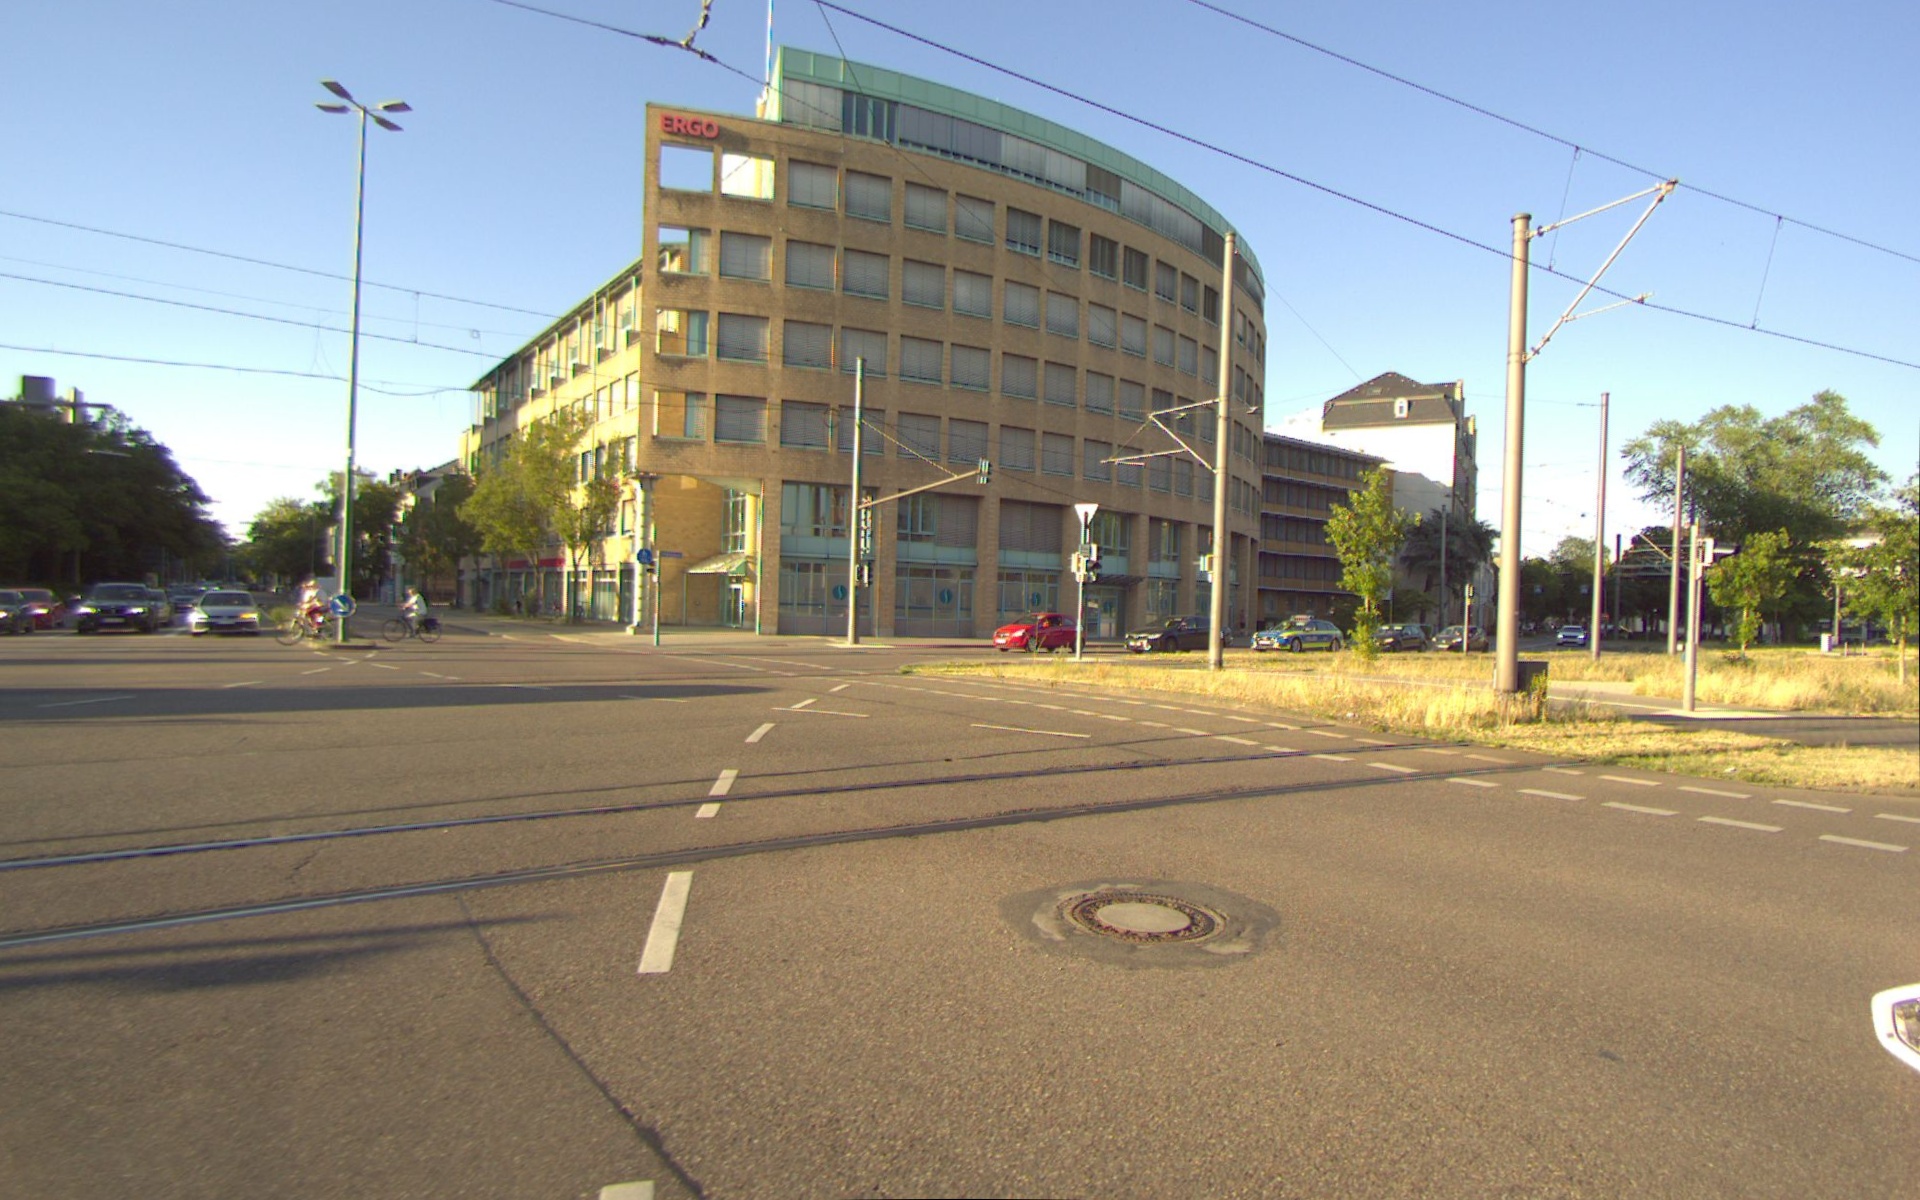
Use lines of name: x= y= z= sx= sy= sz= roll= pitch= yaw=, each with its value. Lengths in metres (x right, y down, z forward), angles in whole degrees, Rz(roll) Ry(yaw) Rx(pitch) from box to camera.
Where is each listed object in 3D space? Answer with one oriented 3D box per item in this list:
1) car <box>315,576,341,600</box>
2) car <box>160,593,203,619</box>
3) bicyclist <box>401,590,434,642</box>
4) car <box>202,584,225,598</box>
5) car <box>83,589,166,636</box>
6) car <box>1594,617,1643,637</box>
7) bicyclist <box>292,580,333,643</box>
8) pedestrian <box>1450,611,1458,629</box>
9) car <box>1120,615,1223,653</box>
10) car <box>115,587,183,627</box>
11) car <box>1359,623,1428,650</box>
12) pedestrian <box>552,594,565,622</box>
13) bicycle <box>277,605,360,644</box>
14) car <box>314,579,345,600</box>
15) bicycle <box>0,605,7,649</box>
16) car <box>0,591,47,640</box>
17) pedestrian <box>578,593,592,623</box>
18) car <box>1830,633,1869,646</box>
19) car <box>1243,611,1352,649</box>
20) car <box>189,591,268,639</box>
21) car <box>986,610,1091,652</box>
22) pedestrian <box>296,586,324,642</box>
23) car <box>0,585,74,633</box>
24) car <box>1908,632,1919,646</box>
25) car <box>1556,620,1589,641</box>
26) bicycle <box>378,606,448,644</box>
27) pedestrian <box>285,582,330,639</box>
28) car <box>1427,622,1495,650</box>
car: x=-64.454 y=-1.255 z=102.467 sx=1.981 sy=2.375 sz=3.959 roll=1 pitch=0 yaw=-36
car: x=-46.249 y=0.342 z=59.705 sx=1.885 sy=1.439 sz=3.958 roll=2 pitch=0 yaw=-37
bicyclist: x=-17.424 y=0.513 z=32.261 sx=0.815 sy=1.605 sz=0.514 roll=1 pitch=2 yaw=-43
car: x=-98.176 y=-1.166 z=132.142 sx=1.986 sy=1.795 sz=3.948 roll=1 pitch=0 yaw=-44
car: x=-28.101 y=0.390 z=33.882 sx=1.885 sy=1.439 sz=3.958 roll=2 pitch=0 yaw=-37
car: x=70.511 y=2.865 z=107.613 sx=4.240 sy=1.996 sz=1.769 roll=2 pitch=0 yaw=37
bicyclist: x=-17.998 y=0.319 z=27.939 sx=0.884 sy=1.703 sz=0.570 roll=1 pitch=2 yaw=-30
pedestrian: x=40.049 y=1.659 z=81.470 sx=0.481 sy=1.449 sz=0.410 roll=1 pitch=1 yaw=-37
car: x=7.930 y=1.256 z=37.553 sx=3.754 sy=1.299 sz=1.712 roll=2 pitch=0 yaw=-38
car: x=-31.537 y=0.251 z=39.150 sx=1.885 sy=1.439 sz=3.958 roll=2 pitch=0 yaw=-37
car: x=20.431 y=1.702 z=47.265 sx=3.568 sy=1.169 sz=1.508 roll=1 pitch=1 yaw=-39
pedestrian: x=-23.316 y=0.447 z=58.350 sx=0.574 sy=1.576 sz=0.739 roll=1 pitch=1 yaw=-31
bicycle: x=-17.869 y=0.692 z=28.023 sx=1.908 sy=1.040 sz=0.456 roll=2 pitch=2 yaw=-31
car: x=-64.477 y=-1.062 z=102.705 sx=2.213 sy=2.040 sz=4.552 roll=1 pitch=0 yaw=-37
bicycle: x=-24.394 y=0.648 z=24.283 sx=1.913 sy=1.040 sz=0.519 roll=1 pitch=2 yaw=-38
car: x=-30.580 y=0.458 z=31.919 sx=1.885 sy=1.439 sz=3.958 roll=2 pitch=0 yaw=-37
pedestrian: x=-20.471 y=0.441 z=54.853 sx=0.574 sy=1.576 sz=0.739 roll=1 pitch=1 yaw=-31
car: x=106.826 y=4.724 z=120.706 sx=1.507 sy=1.379 sz=3.310 roll=1 pitch=0 yaw=-40
car: x=14.251 y=1.264 z=42.323 sx=4.734 sy=1.500 sz=1.876 roll=1 pitch=0 yaw=-35
car: x=-24.106 y=0.460 z=33.233 sx=1.882 sy=1.439 sz=3.963 roll=2 pitch=0 yaw=-33
car: x=2.975 y=1.134 z=37.644 sx=3.858 sy=1.433 sz=1.708 roll=1 pitch=0 yaw=-42
pedestrian: x=-20.141 y=0.419 z=31.125 sx=0.710 sy=1.695 sz=0.731 roll=1 pitch=1 yaw=-34
car: x=-33.489 y=0.298 z=36.337 sx=1.809 sy=1.606 sz=3.957 roll=1 pitch=0 yaw=-37
car: x=111.672 y=4.562 z=115.771 sx=1.645 sy=1.527 sz=3.310 roll=1 pitch=0 yaw=-40
car: x=48.947 y=2.402 z=80.208 sx=1.748 sy=1.502 sz=4.292 roll=2 pitch=0 yaw=38
bicycle: x=-17.506 y=0.809 z=32.200 sx=1.906 sy=1.161 sz=0.454 roll=1 pitch=2 yaw=-43
pedestrian: x=-19.750 y=0.327 z=30.401 sx=1.094 sy=1.695 sz=0.731 roll=1 pitch=1 yaw=-35
car: x=25.652 y=1.820 z=51.440 sx=3.705 sy=1.298 sz=1.634 roll=1 pitch=0 yaw=-37
